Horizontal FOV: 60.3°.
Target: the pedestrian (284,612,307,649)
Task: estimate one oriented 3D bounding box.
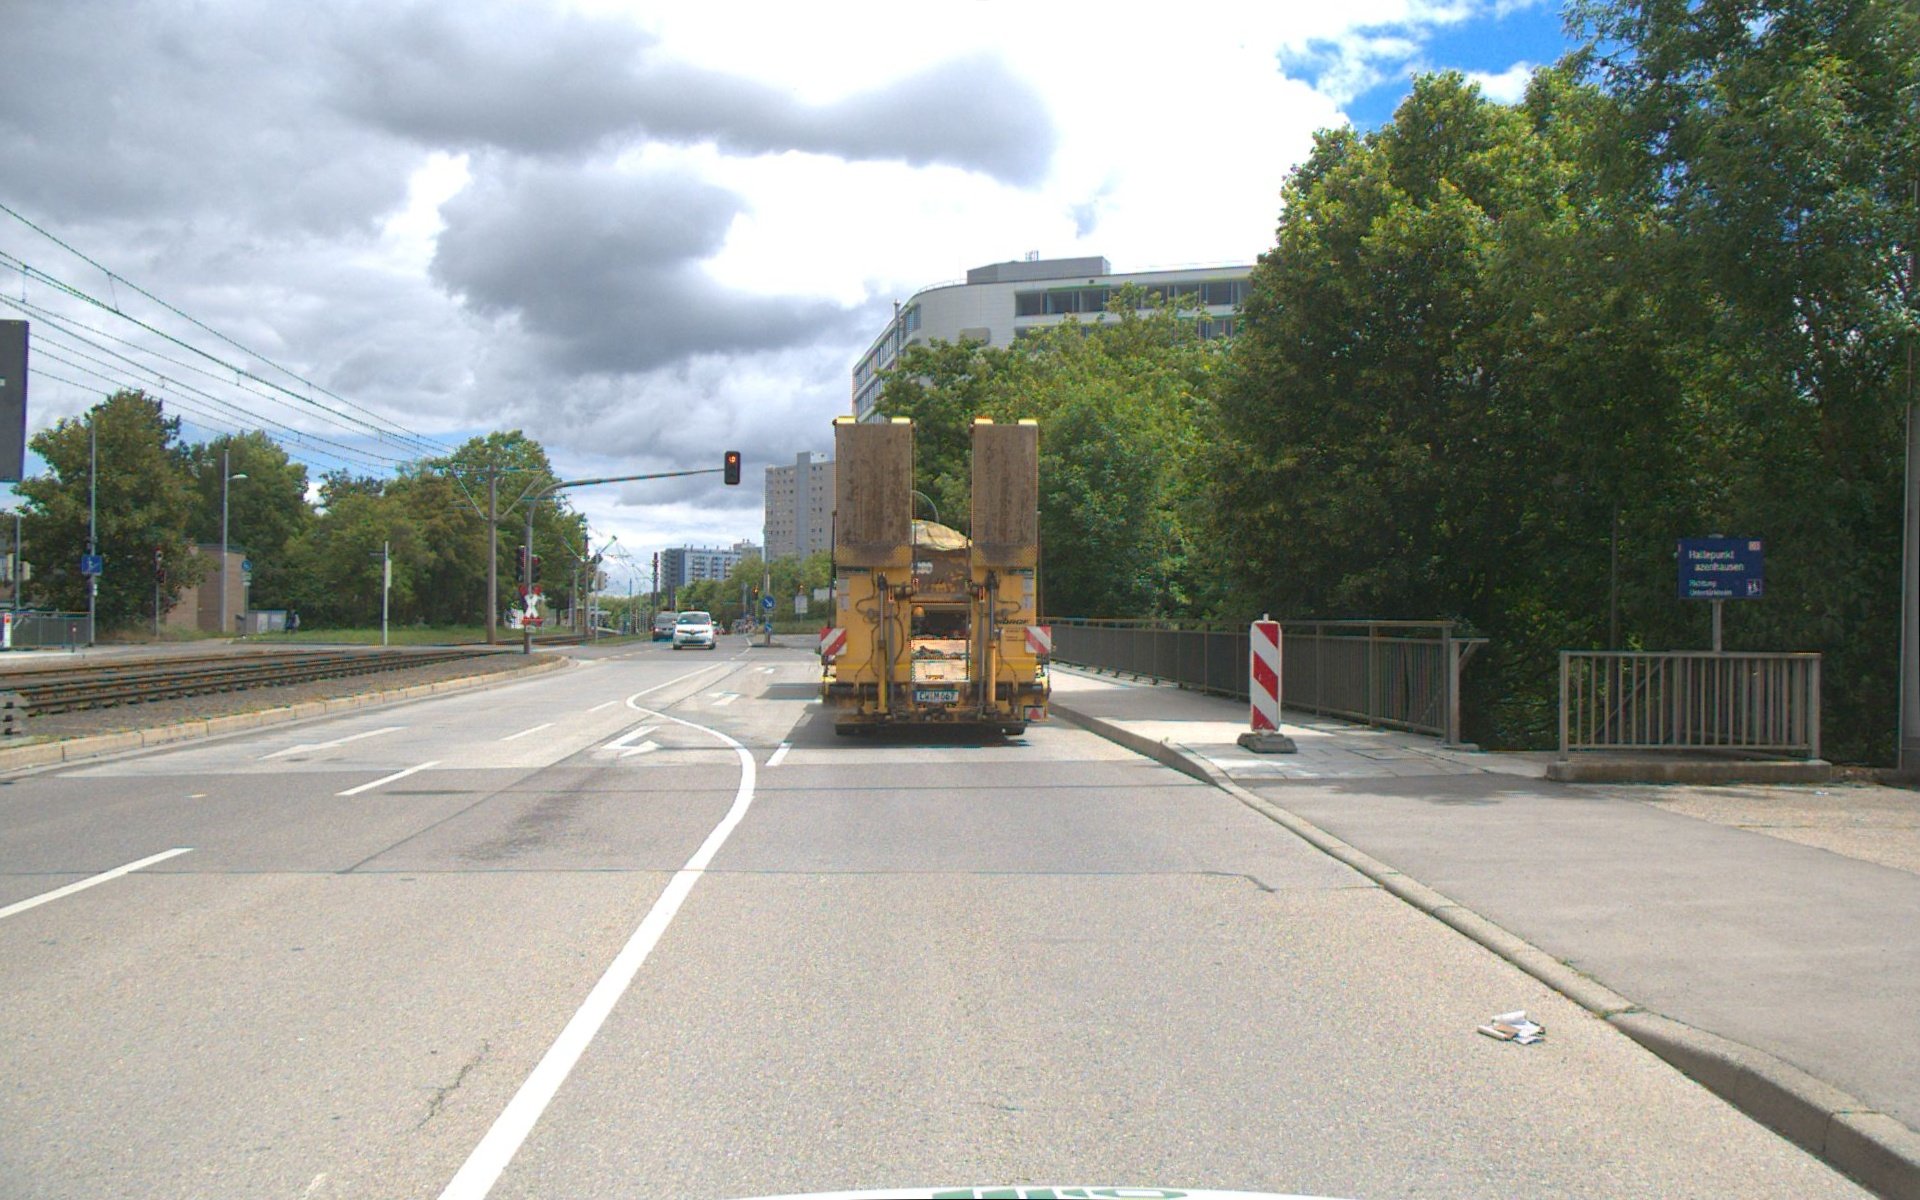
[{"bbox_3d":[-34.029,1.552,84.699,0.785,1.843,0.808,2,-1,-3],"label":"pedestrian"}]

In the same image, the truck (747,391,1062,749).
[{"bbox_3d":[-0.720,-0.233,23.908,3.249,3.715,12.557,2,-1,-1],"label":"truck"}]

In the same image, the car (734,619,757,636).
[{"bbox_3d":[-19.456,2.475,150.234,1.955,1.445,3.994,2,-1,-6],"label":"car"}]

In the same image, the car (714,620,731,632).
[{"bbox_3d":[-25.651,2.835,178.729,1.750,1.294,4.337,0,-1,-7],"label":"car"}]

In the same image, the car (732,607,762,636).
[{"bbox_3d":[-15.137,1.549,117.471,1.955,1.959,3.994,2,-1,-6],"label":"car"}]

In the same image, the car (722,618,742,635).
[{"bbox_3d":[-24.025,2.769,174.473,1.955,1.646,3.994,2,-1,-6],"label":"car"}]

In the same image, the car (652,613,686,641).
[{"bbox_3d":[-17.102,1.581,97.472,1.750,1.597,4.337,0,-1,-7],"label":"car"}]

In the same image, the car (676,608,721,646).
[{"bbox_3d":[-10.904,1.137,69.108,1.562,1.553,3.651,0,-1,-5],"label":"car"}]

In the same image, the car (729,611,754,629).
[{"bbox_3d":[-18.545,1.658,140.300,1.955,1.445,3.994,2,-1,-6],"label":"car"}]

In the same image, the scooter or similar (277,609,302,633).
[{"bbox_3d":[-33.962,1.058,83.828,0.873,1.205,0.971,2,-1,-4],"label":"scooter or similar"}]
